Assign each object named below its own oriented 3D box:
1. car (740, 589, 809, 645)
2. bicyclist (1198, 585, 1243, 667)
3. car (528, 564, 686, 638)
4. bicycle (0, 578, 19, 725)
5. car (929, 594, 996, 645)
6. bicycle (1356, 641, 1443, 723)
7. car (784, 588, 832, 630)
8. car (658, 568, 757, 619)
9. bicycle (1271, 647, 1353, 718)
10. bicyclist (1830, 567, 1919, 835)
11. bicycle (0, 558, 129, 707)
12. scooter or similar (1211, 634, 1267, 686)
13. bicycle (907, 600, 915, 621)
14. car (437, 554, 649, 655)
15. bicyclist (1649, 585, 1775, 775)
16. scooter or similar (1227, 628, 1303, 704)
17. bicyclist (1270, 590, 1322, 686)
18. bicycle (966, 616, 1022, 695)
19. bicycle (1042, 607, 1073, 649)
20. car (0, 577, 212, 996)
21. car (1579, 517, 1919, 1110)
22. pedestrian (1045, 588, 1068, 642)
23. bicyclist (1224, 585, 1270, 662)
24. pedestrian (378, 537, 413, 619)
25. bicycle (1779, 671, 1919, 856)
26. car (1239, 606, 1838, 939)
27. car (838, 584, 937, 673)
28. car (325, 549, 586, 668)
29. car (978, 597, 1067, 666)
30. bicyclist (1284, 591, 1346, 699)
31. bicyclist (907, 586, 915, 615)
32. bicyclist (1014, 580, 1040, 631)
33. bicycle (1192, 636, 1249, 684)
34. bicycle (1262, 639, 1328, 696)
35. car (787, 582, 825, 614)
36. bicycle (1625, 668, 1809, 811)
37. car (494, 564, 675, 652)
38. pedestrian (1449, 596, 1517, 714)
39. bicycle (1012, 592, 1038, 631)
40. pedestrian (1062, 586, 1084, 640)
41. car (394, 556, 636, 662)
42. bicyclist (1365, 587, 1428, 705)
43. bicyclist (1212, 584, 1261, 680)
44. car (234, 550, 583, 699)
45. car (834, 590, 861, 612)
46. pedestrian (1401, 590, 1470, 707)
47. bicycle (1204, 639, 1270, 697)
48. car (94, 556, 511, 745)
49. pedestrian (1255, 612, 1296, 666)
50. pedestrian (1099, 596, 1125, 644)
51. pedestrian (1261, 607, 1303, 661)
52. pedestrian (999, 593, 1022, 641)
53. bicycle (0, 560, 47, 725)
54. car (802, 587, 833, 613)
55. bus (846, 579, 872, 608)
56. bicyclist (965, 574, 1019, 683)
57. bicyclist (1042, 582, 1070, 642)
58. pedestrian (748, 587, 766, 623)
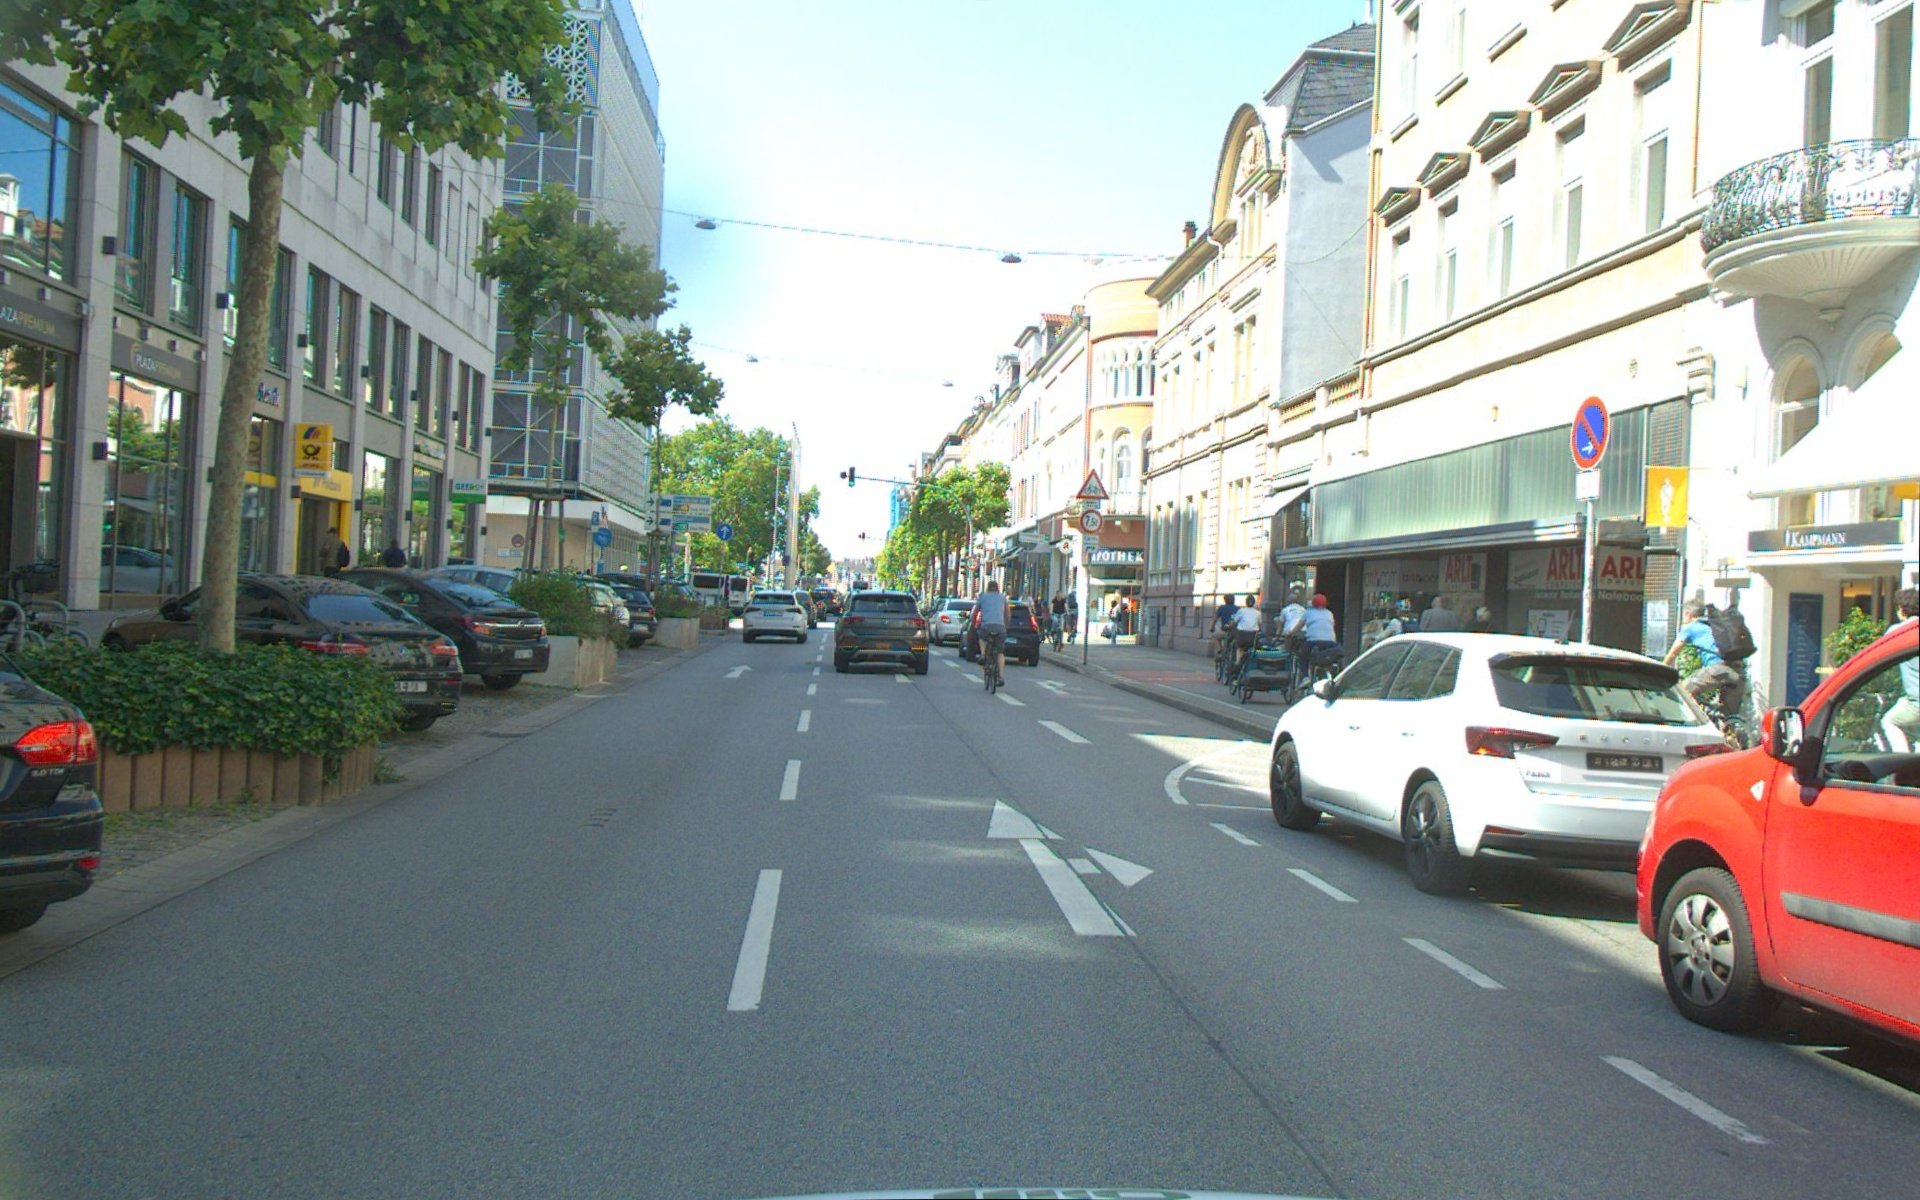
[{"bbox_3d":[-5.249,0.457,47.180,1.827,1.466,3.996,2,0,-5],"label":"car"},{"bbox_3d":[5.326,0.527,33.849,0.695,1.623,0.963,2,0,-3],"label":"bicyclist"},{"bbox_3d":[-9.553,0.034,45.013,3.912,1.526,1.715,7,-1,-7],"label":"car"},{"bbox_3d":[-8.463,0.322,12.688,2.029,1.150,0.462,5,-1,-12],"label":"bicycle"},{"bbox_3d":[0.033,0.564,50.999,1.786,1.409,3.998,2,1,-3],"label":"car"},{"bbox_3d":[6.169,1.129,23.304,0.552,1.013,2.102,2,0,-2],"label":"bicycle"},{"bbox_3d":[-5.711,0.304,62.486,1.709,1.466,3.996,2,0,-5],"label":"car"},{"bbox_3d":[-12.500,-0.343,81.736,4.632,2.038,1.934,6,-1,36],"label":"car"},{"bbox_3d":[5.071,1.170,23.957,0.634,0.895,2.102,2,0,-3],"label":"bicycle"},{"bbox_3d":[6.733,0.684,11.604,0.634,1.800,1.012,2,0,-3],"label":"bicyclist"},{"bbox_3d":[-8.680,0.243,14.814,2.035,1.240,0.755,5,-1,-21],"label":"bicycle"},{"bbox_3d":[5.416,1.151,32.178,0.836,0.935,1.164,2,0,-3],"label":"scooter or similar"},{"bbox_3d":[-2.801,0.566,93.970,0.411,1.155,1.909,2,0,-2],"label":"bicycle"},{"bbox_3d":[-8.746,0.102,34.732,3.908,1.594,1.700,7,0,21],"label":"car"},{"bbox_3d":[7.044,0.726,15.538,0.634,1.714,1.012,2,0,-3],"label":"bicyclist"},{"bbox_3d":[4.913,1.046,26.779,0.853,1.141,1.620,1,0,-3],"label":"scooter or similar"},{"bbox_3d":[5.860,0.654,28.905,0.644,1.623,0.920,2,0,-3],"label":"bicyclist"},{"bbox_3d":[0.538,0.891,27.238,0.651,1.139,2.241,4,0,-4],"label":"bicycle"},{"bbox_3d":[2.855,0.815,48.697,0.544,1.139,2.241,4,0,-4],"label":"bicycle"},{"bbox_3d":[-5.444,0.553,7.184,4.703,1.447,1.876,4,1,36],"label":"car"},{"bbox_3d":[4.004,0.742,5.365,1.793,1.896,4.347,4,0,-8],"label":"car"},{"bbox_3d":[3.528,0.532,60.329,0.694,1.932,1.152,2,0,-1],"label":"pedestrian"},{"bbox_3d":[4.867,0.390,28.033,0.611,1.270,0.607,2,0,-3],"label":"bicyclist"},{"bbox_3d":[-14.330,-0.548,41.961,0.611,2.049,0.700,2,0,-4],"label":"pedestrian"},{"bbox_3d":[6.655,1.136,11.721,0.544,1.140,2.071,0,1,-4],"label":"bicycle"},{"bbox_3d":[3.381,0.908,10.785,1.779,1.491,4.574,4,1,-7],"label":"car"},{"bbox_3d":[-1.479,0.508,32.402,1.797,1.554,3.997,1,1,-4],"label":"car"},{"bbox_3d":[-8.551,0.142,28.339,3.914,1.526,1.714,7,-1,-9],"label":"car"},{"bbox_3d":[1.482,0.740,40.579,1.786,1.433,3.185,5,1,-3],"label":"car"},{"bbox_3d":[5.086,0.629,23.746,0.612,1.502,0.889,2,0,-3],"label":"bicyclist"},{"bbox_3d":[-2.771,0.025,93.888,0.411,1.658,0.708,2,0,-3],"label":"bicyclist"},{"bbox_3d":[2.306,0.190,57.120,0.681,1.702,0.835,5,1,-4],"label":"bicyclist"},{"bbox_3d":[5.318,1.210,33.851,0.725,0.895,2.137,2,0,-3],"label":"bicycle"},{"bbox_3d":[5.845,1.167,28.960,0.634,0.895,2.102,2,0,-3],"label":"bicycle"},{"bbox_3d":[-7.350,-0.102,79.349,1.709,1.466,3.996,2,0,-5],"label":"car"},{"bbox_3d":[7.047,1.265,15.531,0.634,1.139,2.101,2,0,-3],"label":"bicycle"},{"bbox_3d":[-8.649,0.175,38.017,3.919,1.484,1.665,7,0,33],"label":"car"},{"bbox_3d":[7.846,0.807,24.841,0.634,1.714,0.944,2,0,-3],"label":"pedestrian"},{"bbox_3d":[2.228,0.380,56.859,0.544,1.229,2.241,6,0,-4],"label":"bicycle"},{"bbox_3d":[3.890,0.446,57.133,0.639,1.841,0.729,1,0,-2],"label":"pedestrian"},{"bbox_3d":[-8.365,0.175,31.226,3.904,1.515,1.785,6,0,13],"label":"car"},{"bbox_3d":[6.181,0.643,23.458,0.571,1.623,0.920,2,0,-2],"label":"bicyclist"},{"bbox_3d":[4.821,0.556,28.903,0.619,1.623,0.920,2,-1,-3],"label":"bicyclist"},{"bbox_3d":[-7.329,0.299,21.943,4.257,1.539,1.831,5,0,26],"label":"car"},{"bbox_3d":[-8.203,0.055,120.757,1.827,1.466,3.996,2,0,-5],"label":"car"},{"bbox_3d":[7.314,0.732,25.481,0.859,1.748,0.836,2,0,8],"label":"pedestrian"},{"bbox_3d":[4.804,1.164,28.817,0.634,0.895,2.388,2,0,-2],"label":"bicycle"},{"bbox_3d":[-6.743,0.438,16.727,4.565,1.432,1.897,5,1,39],"label":"car"},{"bbox_3d":[7.681,0.947,40.264,0.917,1.291,0.568,0,0,2],"label":"pedestrian"},{"bbox_3d":[5.681,0.732,61.687,0.776,1.750,0.728,2,0,-9],"label":"pedestrian"},{"bbox_3d":[7.681,0.810,39.467,0.917,1.291,0.568,0,0,2],"label":"pedestrian"},{"bbox_3d":[2.010,0.679,65.397,0.711,1.840,0.654,3,0,13],"label":"pedestrian"},{"bbox_3d":[-8.609,0.267,13.366,2.029,1.311,0.366,5,-1,-12],"label":"bicycle"},{"bbox_3d":[-8.321,-0.013,96.671,1.709,1.466,3.996,2,0,-5],"label":"car"},{"bbox_3d":[-13.590,-0.894,221.666,2.718,3.668,8.959,2,0,-7],"label":"bus"},{"bbox_3d":[0.517,0.455,27.177,0.681,1.702,0.915,5,1,-3],"label":"bicyclist"},{"bbox_3d":[2.824,0.359,48.563,0.680,1.703,0.834,2,-3,-3],"label":"bicyclist"},{"bbox_3d":[-9.269,0.233,75.527,0.606,1.643,0.544,3,-2,-34],"label":"pedestrian"}]
